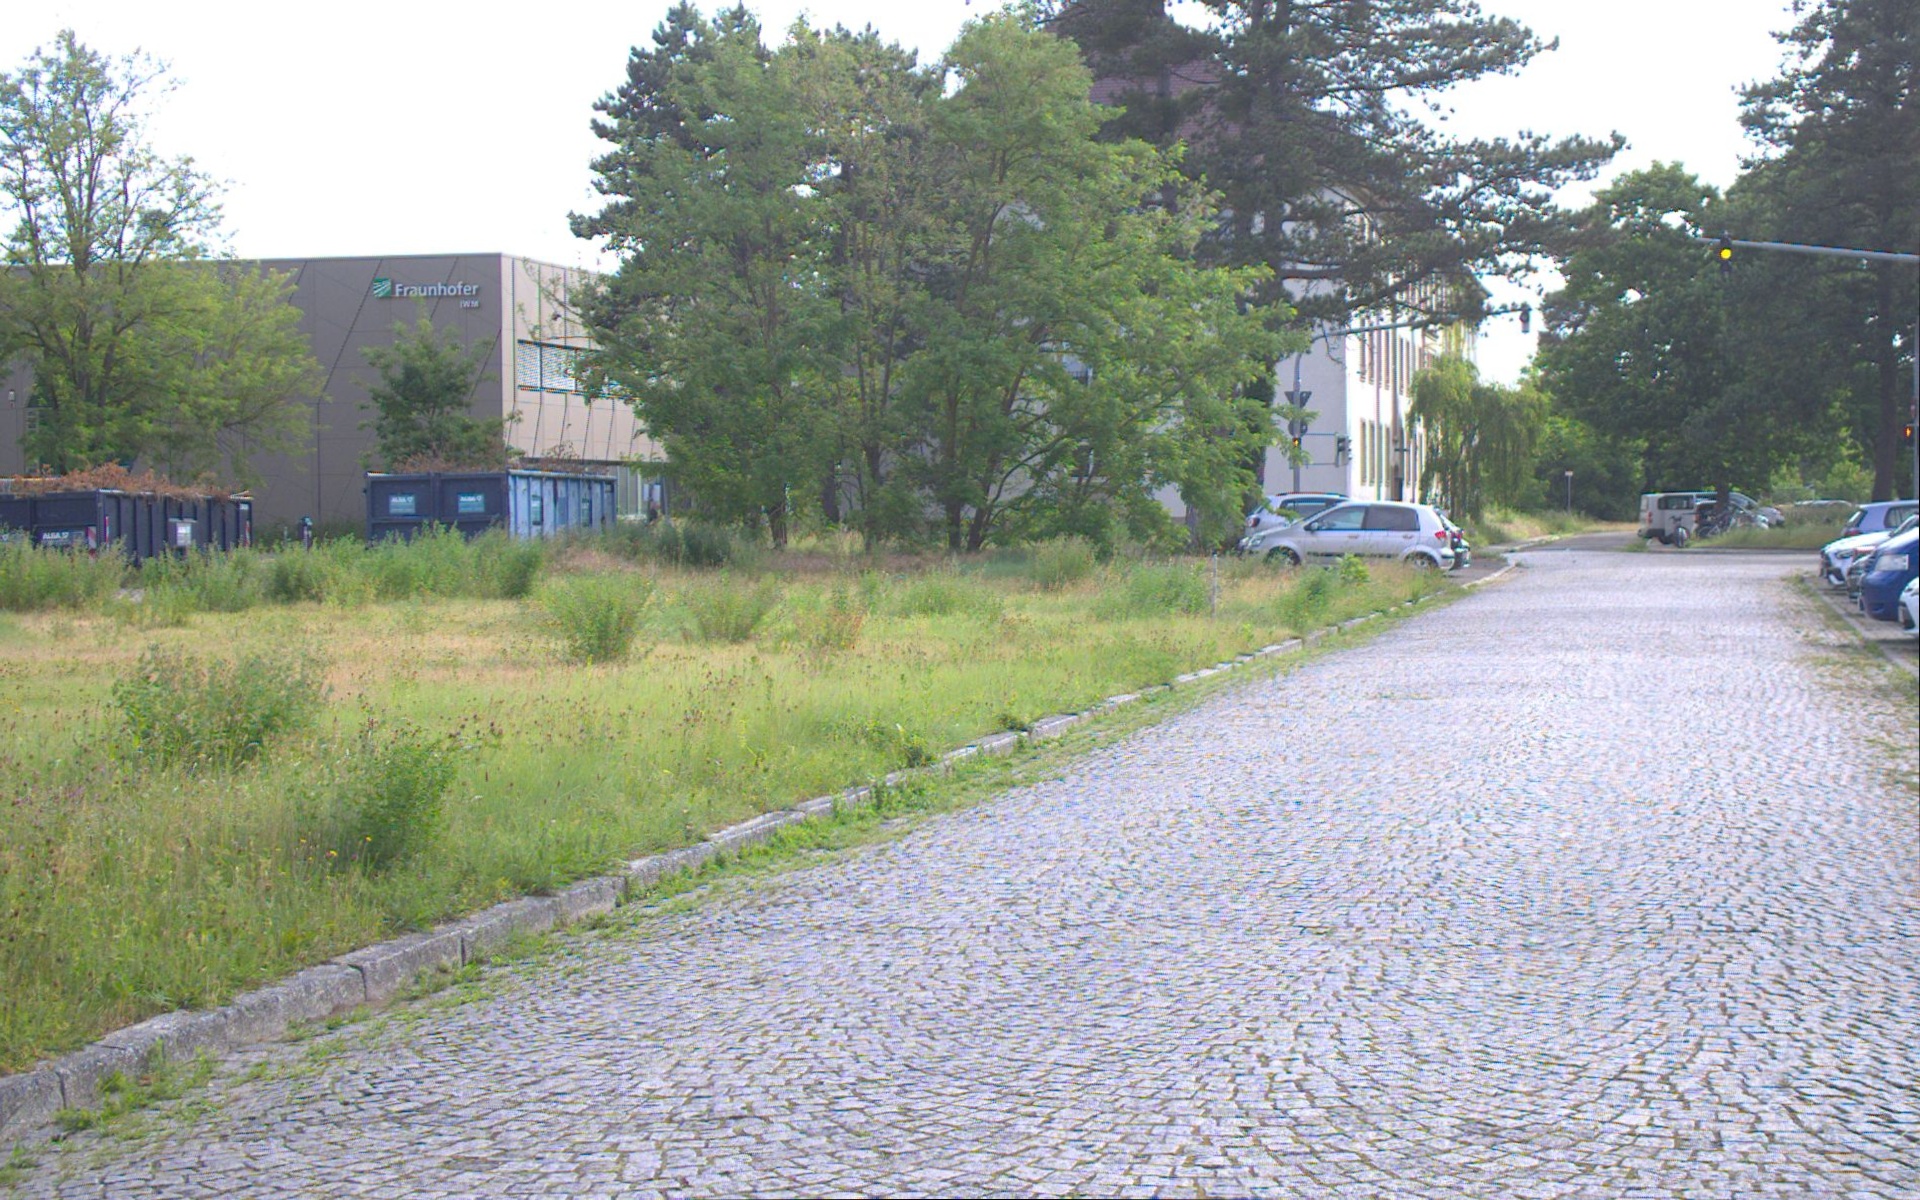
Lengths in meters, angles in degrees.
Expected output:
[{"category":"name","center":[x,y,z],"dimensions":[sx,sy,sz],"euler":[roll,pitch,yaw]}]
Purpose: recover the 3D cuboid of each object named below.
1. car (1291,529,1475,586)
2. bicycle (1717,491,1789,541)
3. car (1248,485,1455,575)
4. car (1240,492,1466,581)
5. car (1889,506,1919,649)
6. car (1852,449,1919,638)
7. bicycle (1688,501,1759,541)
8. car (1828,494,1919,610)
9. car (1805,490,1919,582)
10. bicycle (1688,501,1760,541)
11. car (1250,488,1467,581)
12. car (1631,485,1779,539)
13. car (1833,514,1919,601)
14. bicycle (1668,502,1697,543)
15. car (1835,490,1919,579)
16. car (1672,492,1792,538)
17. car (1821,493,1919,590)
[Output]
[{"category":"car","center":[8.584,-0.867,69.867],"dimensions":[3.671,1.090,1.646],"euler":[0,2,6]},{"category":"bicycle","center":[25.463,-2.705,110.412],"dimensions":[2.161,1.610,0.812],"euler":[0,2,6]},{"category":"car","center":[7.685,-1.380,67.659],"dimensions":[3.988,1.744,1.927],"euler":[0,2,5]},{"category":"car","center":[7.103,-1.157,62.212],"dimensions":[3.988,1.546,2.000],"euler":[0,2,6]},{"category":"car","center":[11.510,-0.290,35.146],"dimensions":[3.724,1.419,1.654],"euler":[-1,1,10]},{"category":"car","center":[12.262,-0.644,37.515],"dimensions":[4.784,2.032,1.737],"euler":[0,2,10]},{"category":"bicycle","center":[24.405,-2.538,109.925],"dimensions":[2.161,1.264,0.812],"euler":[0,2,6]},{"category":"car","center":[13.555,-0.663,45.782],"dimensions":[3.598,1.501,1.664],"euler":[0,2,2]},{"category":"car","center":[16.544,-1.103,58.307],"dimensions":[4.123,1.538,1.664],"euler":[0,2,7]},{"category":"bicycle","center":[24.286,-2.528,109.350],"dimensions":[2.161,1.264,0.812],"euler":[0,2,6]},{"category":"car","center":[7.497,-1.241,64.720],"dimensions":[3.988,1.700,2.000],"euler":[0,2,6]},{"category":"car","center":[27.455,-3.254,126.884],"dimensions":[5.051,2.006,2.000],"euler":[0,2,2]},{"category":"car","center":[14.815,-0.645,51.232],"dimensions":[3.293,1.263,1.664],"euler":[0,2,7]},{"category":"bicycle","center":[22.275,-2.388,105.951],"dimensions":[0.810,1.264,1.972],"euler":[0,2,13]},{"category":"car","center":[17.304,-1.172,60.769],"dimensions":[3.390,1.538,1.391],"euler":[0,2,7]},{"category":"car","center":[27.713,-3.044,123.474],"dimensions":[3.988,1.638,2.000],"euler":[0,2,6]},{"category":"car","center":[16.060,-0.962,55.547],"dimensions":[3.988,1.538,1.664],"euler":[0,2,7]}]
